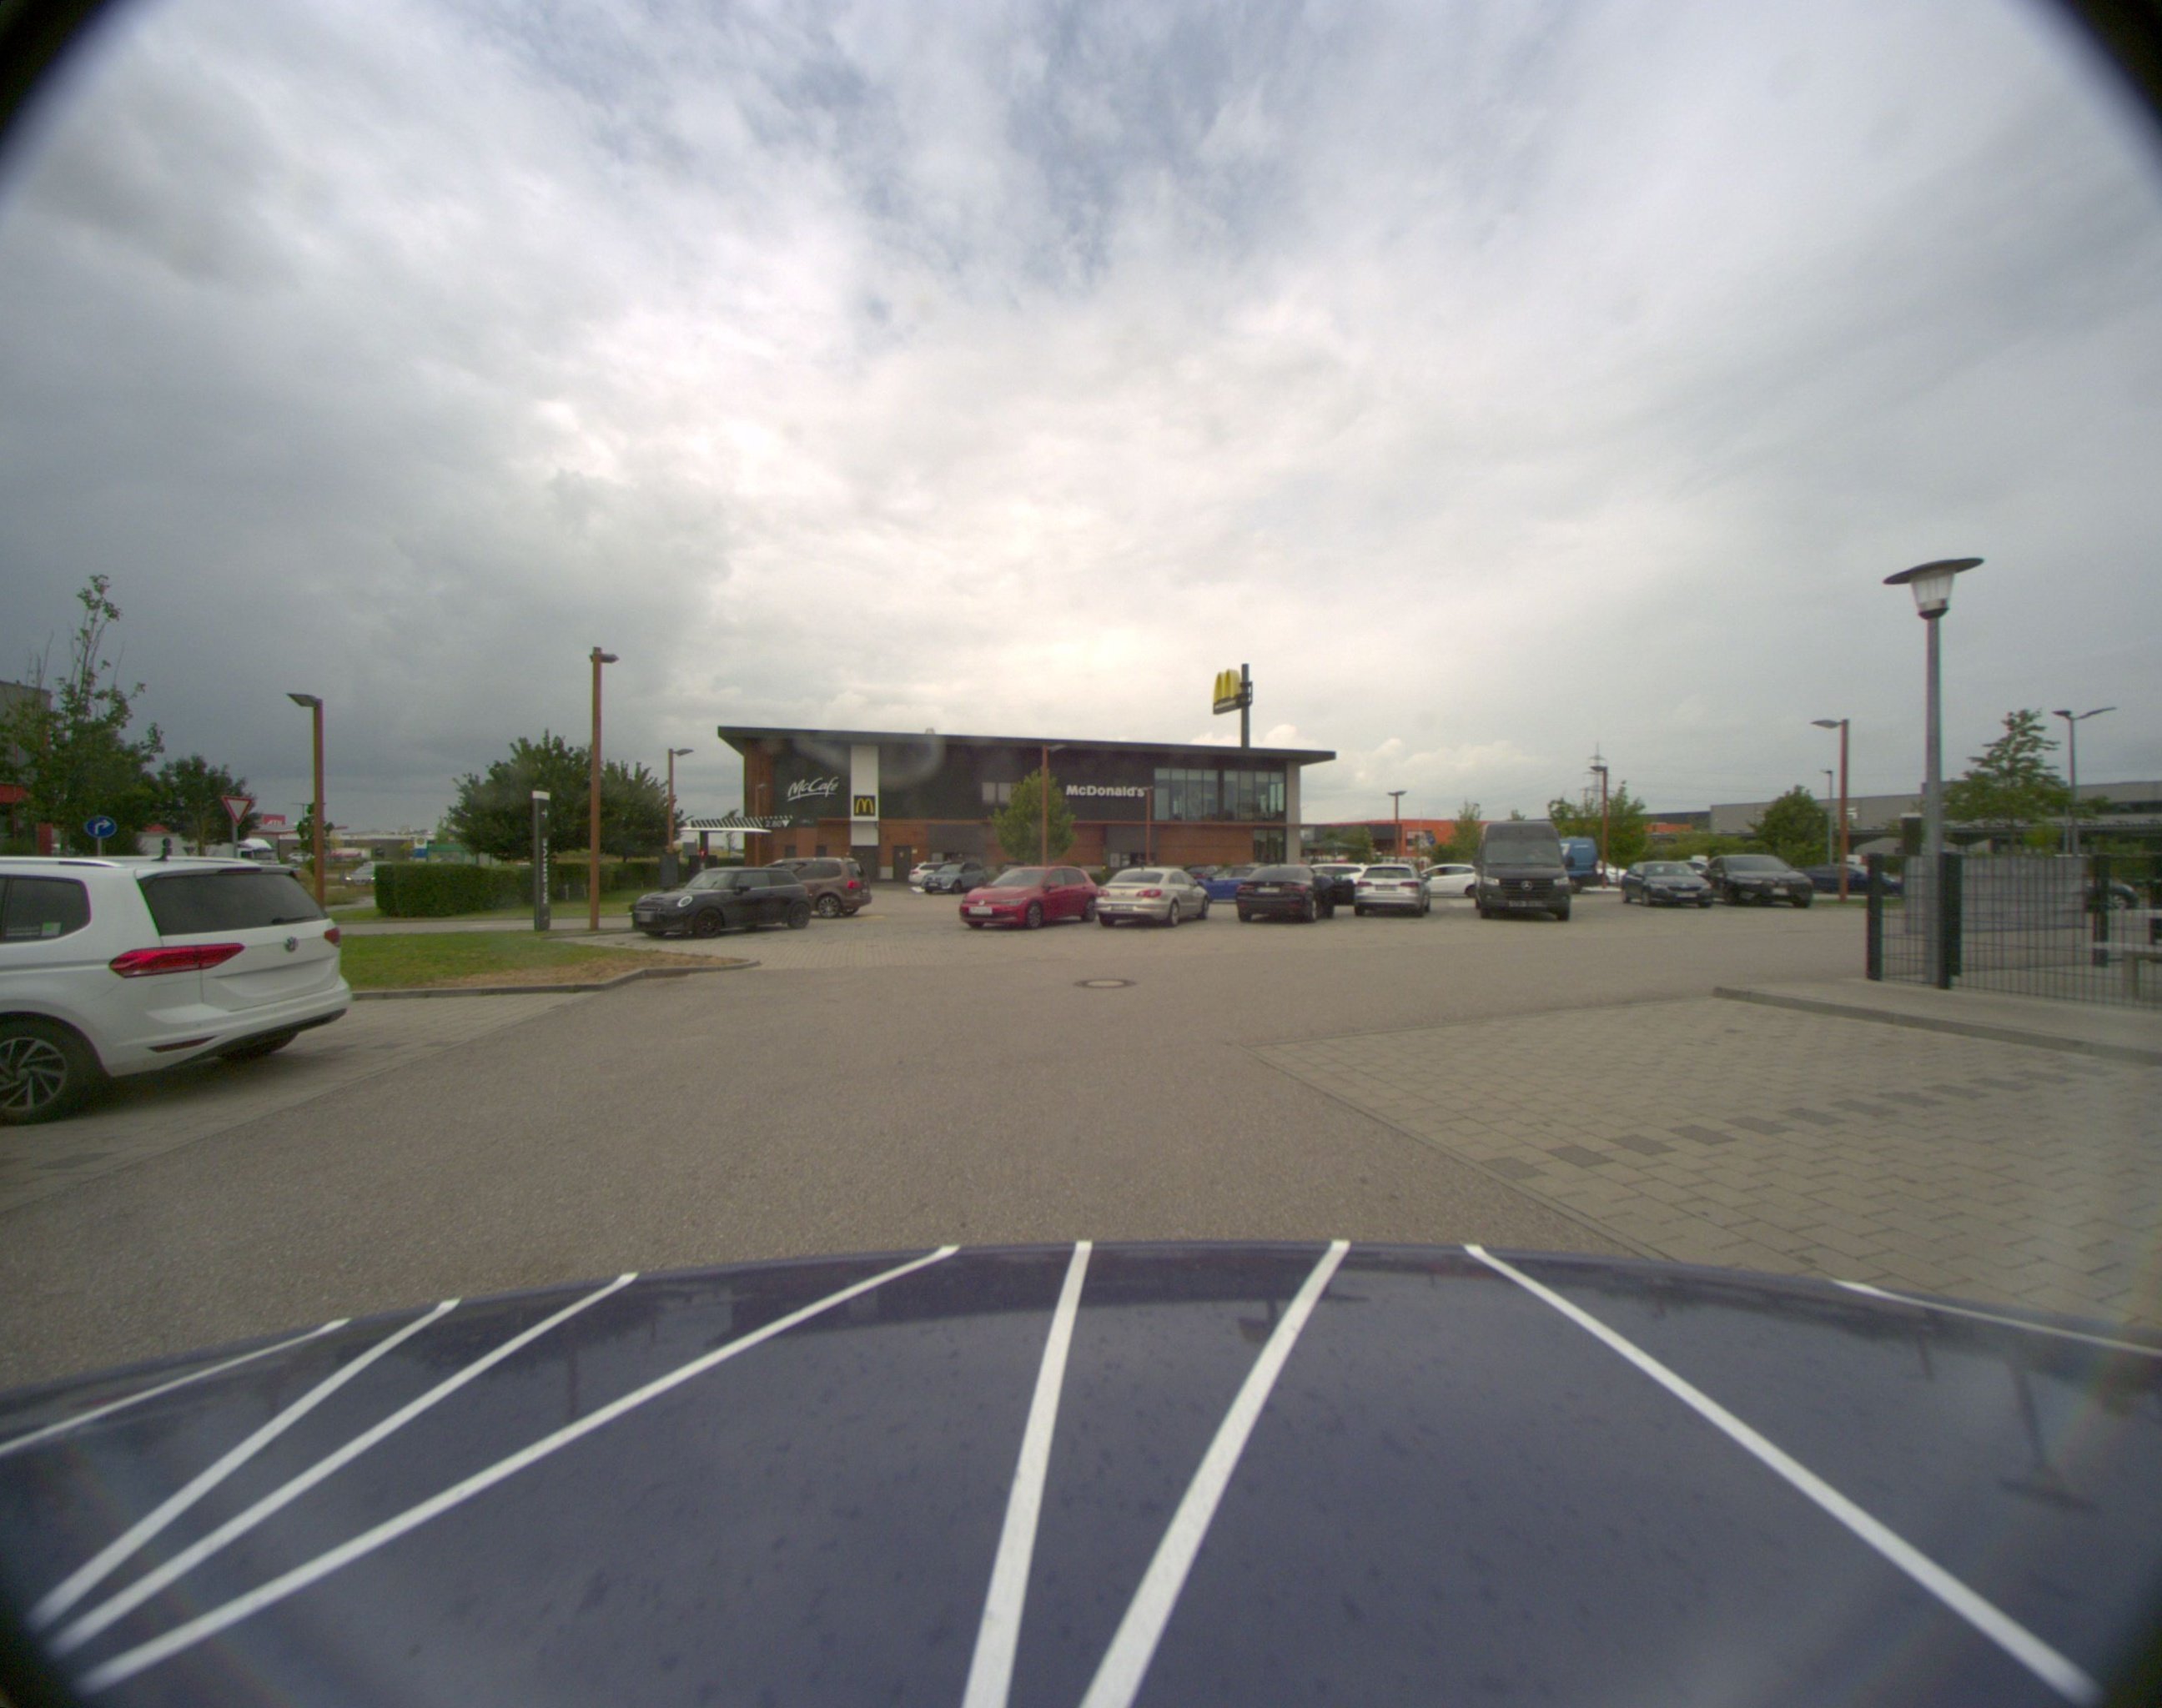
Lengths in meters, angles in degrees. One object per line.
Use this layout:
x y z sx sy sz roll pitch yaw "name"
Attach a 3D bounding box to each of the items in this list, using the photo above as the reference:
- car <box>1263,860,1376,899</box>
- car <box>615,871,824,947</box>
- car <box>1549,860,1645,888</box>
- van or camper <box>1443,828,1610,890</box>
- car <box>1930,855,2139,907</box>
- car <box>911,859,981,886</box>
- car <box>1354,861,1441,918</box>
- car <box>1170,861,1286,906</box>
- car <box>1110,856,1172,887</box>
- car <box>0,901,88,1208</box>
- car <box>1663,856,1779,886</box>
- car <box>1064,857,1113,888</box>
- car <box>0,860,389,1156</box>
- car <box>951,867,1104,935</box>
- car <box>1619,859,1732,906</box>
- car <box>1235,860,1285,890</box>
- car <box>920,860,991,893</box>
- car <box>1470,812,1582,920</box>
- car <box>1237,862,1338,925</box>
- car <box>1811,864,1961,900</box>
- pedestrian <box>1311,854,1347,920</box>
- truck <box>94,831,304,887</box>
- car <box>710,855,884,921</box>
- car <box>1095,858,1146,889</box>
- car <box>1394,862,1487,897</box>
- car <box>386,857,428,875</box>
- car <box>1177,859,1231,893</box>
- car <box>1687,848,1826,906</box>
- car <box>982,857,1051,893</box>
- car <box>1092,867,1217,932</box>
9.496 1.018 30.272 4.101 1.458 1.784 0 -2 25 "car"
-7.654 1.088 16.511 1.683 1.403 3.938 0 -1 24 "car"
33.140 1.234 49.001 2.074 1.593 4.937 0 1 -15 "car"
20.812 0.288 35.728 6.555 2.684 2.177 -1 -1 33 "van or camper"
28.111 0.765 22.589 3.517 1.368 1.613 2 0 34 "car"
-8.248 1.148 46.457 4.003 1.497 1.786 2 0 -16 "car"
9.008 0.950 21.452 1.682 1.442 4.009 -1 -1 31 "car"
5.671 1.087 29.328 3.988 1.501 1.773 2 0 29 "car"
3.384 0.916 41.982 1.832 1.565 4.101 1 1 30 "car"
-7.331 1.036 2.636 4.517 1.458 1.945 -2 0 -11 "car"
35.262 0.909 42.021 2.075 1.544 4.471 0 0 -17 "car"
0.412 1.083 45.639 1.754 1.743 3.993 2 0 -17 "car"
-7.920 0.959 5.114 4.373 1.703 1.990 -2 0 -11 "car"
-1.159 1.043 18.318 1.682 1.455 4.009 -1 -1 31 "car"
19.195 0.875 24.746 1.828 1.403 4.007 -1 -1 22 "car"
10.455 1.164 44.172 1.785 1.478 4.007 2 2 29 "car"
-6.420 1.125 39.209 1.746 1.575 3.912 2 0 23 "car"
12.271 0.332 21.429 2.068 2.538 7.026 0 -1 25 "car"
5.514 0.965 19.910 1.683 1.454 4.416 0 -1 27 "car"
37.265 1.256 35.347 1.835 1.450 4.451 0 0 -14 "car"
6.480 0.835 19.835 0.747 1.668 0.844 1 0 27 "pedestrian"
-77.080 0.480 66.772 12.004 4.472 3.762 2 0 -13 "truck"
-7.933 0.919 21.518 4.187 1.680 1.811 2 0 0 "car"
2.362 1.141 46.326 1.754 1.743 3.993 2 0 -17 "car"
15.556 1.063 32.935 3.564 1.445 1.846 0 -1 26 "car"
-57.121 1.015 64.450 1.758 1.482 4.121 1 -2 -29 "car"
6.998 1.187 42.879 1.893 1.653 4.265 2 2 25 "car"
22.390 0.712 25.448 1.995 1.717 4.906 1 0 23 "car"
-3.286 1.091 39.539 1.995 1.739 4.007 2 -1 21 "car"
1.953 1.027 18.843 1.749 1.403 4.468 0 -1 24 "car"
